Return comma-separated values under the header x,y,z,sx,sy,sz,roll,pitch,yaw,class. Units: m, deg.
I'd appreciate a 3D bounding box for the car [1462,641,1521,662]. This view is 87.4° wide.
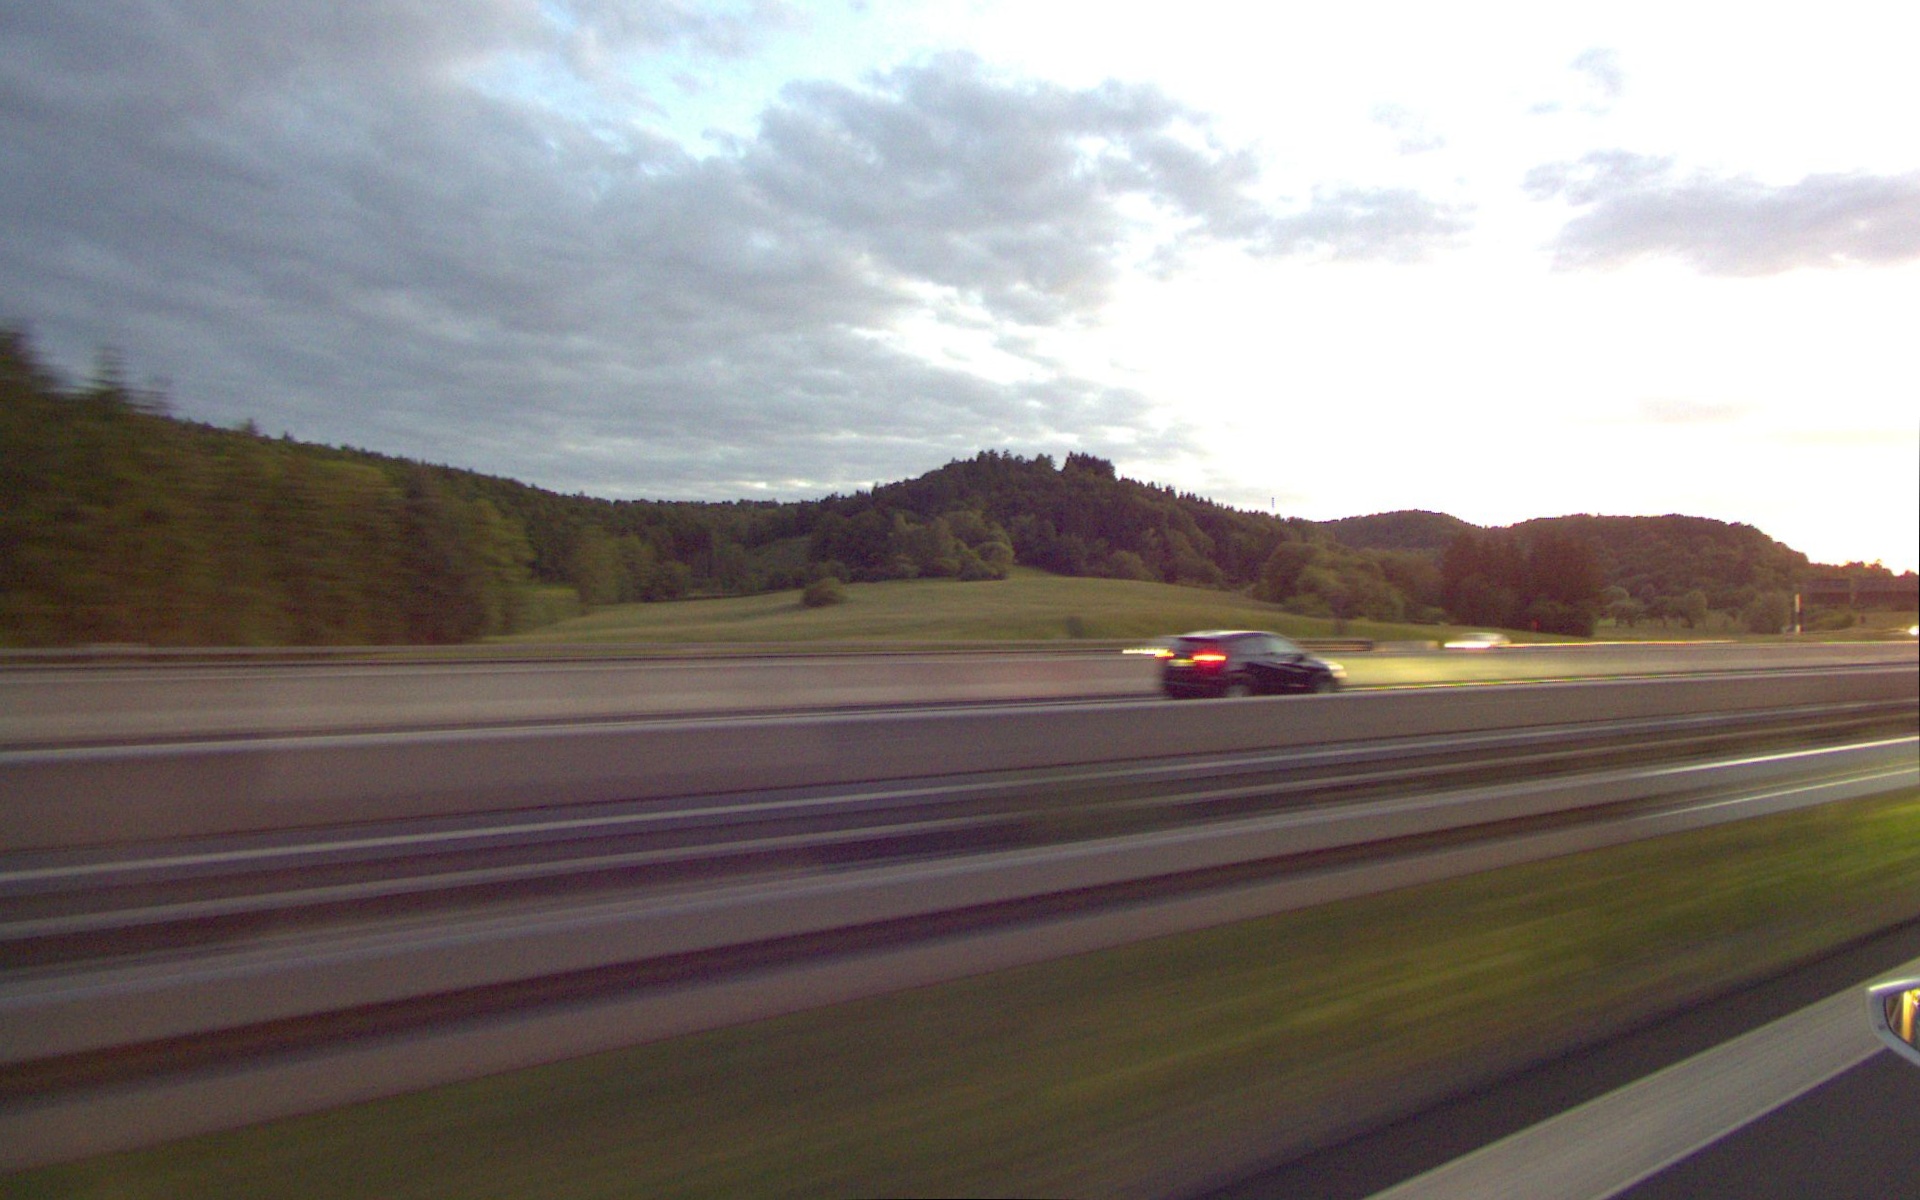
x,y,z,sx,sy,sz,roll,pitch,yaw,class
35.191,3.410,66.493,3.850,1.336,1.758,2,-3,-32,car

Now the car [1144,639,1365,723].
x,y,z,sx,sy,sz,roll,pitch,yaw,class
6.142,1.611,20.838,4.467,1.582,1.863,2,-3,-30,car

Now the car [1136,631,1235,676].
x,y,z,sx,sy,sz,roll,pitch,yaw,class
10.713,2.508,47.632,4.685,2.040,1.981,2,-3,-35,car
